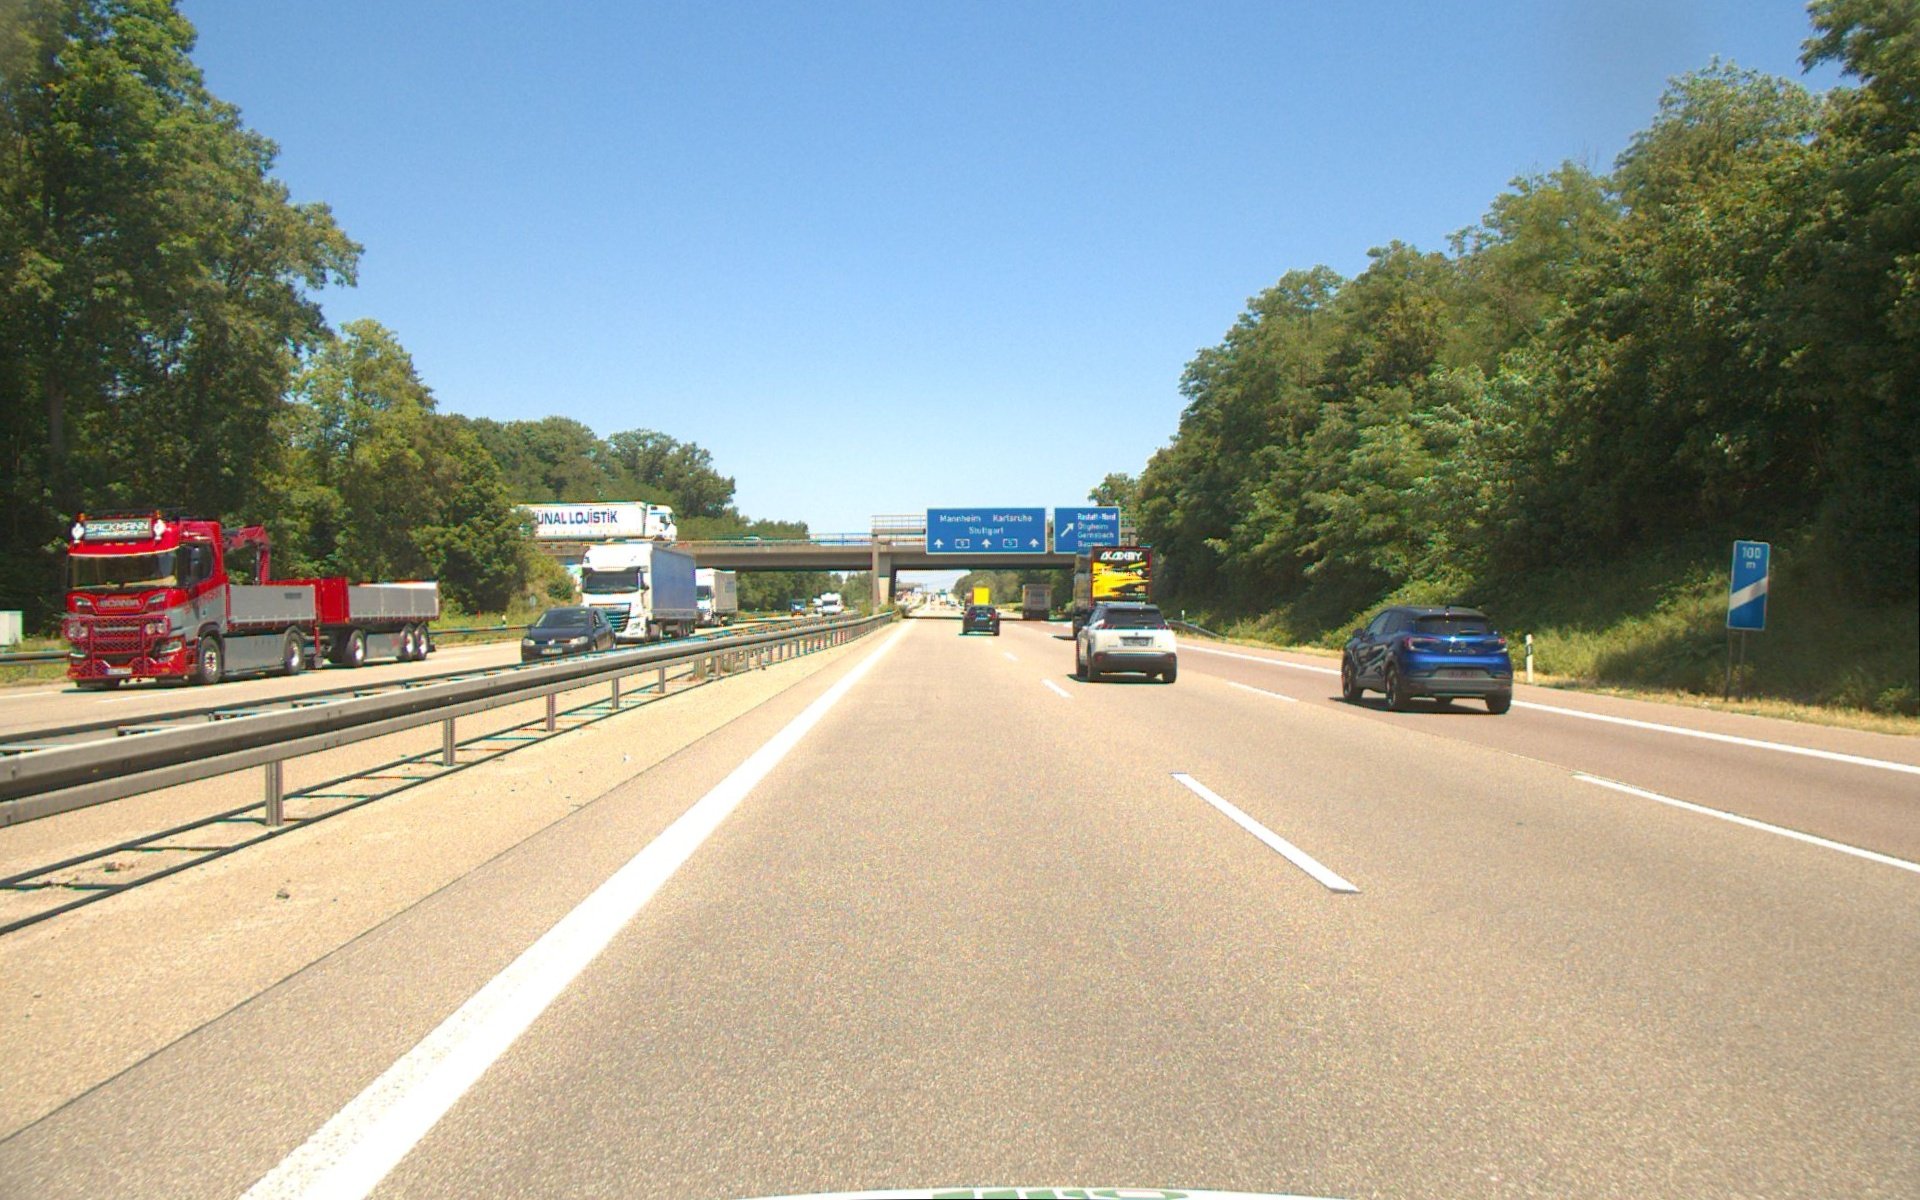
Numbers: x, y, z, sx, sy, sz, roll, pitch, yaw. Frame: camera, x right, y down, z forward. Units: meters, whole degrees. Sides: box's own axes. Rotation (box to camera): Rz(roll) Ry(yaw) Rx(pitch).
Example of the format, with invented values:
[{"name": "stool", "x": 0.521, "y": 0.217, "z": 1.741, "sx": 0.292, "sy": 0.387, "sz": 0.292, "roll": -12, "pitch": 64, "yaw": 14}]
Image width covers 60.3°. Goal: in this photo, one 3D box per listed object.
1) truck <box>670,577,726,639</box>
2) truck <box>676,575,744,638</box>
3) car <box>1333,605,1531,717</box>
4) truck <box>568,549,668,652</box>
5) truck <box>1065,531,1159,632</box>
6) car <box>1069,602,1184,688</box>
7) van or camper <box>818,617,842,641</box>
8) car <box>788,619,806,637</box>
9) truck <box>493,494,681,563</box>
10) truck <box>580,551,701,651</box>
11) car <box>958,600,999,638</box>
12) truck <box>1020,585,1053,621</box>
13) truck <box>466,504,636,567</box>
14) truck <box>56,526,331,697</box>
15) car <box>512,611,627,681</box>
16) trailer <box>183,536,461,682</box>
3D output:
[{"name": "truck", "x": -18.587, "y": 0.587, "z": 117.765, "sx": 2.909, "sy": 4.133, "sz": 6.457, "roll": -2, "pitch": -1, "yaw": -1}, {"name": "truck", "x": -18.745, "y": 0.530, "z": 124.843, "sx": 3.004, "sy": 4.325, "sz": 13.958, "roll": -2, "pitch": -1, "yaw": -1}, {"name": "car", "x": 7.288, "y": 0.901, "z": 25.980, "sx": 1.832, "sy": 1.583, "sz": 4.200, "roll": 1, "pitch": -1, "yaw": -1}, {"name": "truck", "x": -14.268, "y": 0.058, "z": 69.408, "sx": 2.926, "sy": 4.089, "sz": 6.040, "roll": 1, "pitch": -1, "yaw": -1}, {"name": "truck", "x": 6.681, "y": -0.710, "z": 74.334, "sx": 2.915, "sy": 4.107, "sz": 10.978, "roll": 2, "pitch": -1, "yaw": -1}, {"name": "car", "x": 3.366, "y": 0.894, "z": 34.217, "sx": 1.790, "sy": 1.636, "sz": 4.807, "roll": 1, "pitch": -1, "yaw": -1}, {"name": "van or camper", "x": -16.553, "y": 3.710, "z": 211.381, "sx": 2.540, "sy": 2.957, "sz": 7.232, "roll": 1, "pitch": -1, "yaw": -1}, {"name": "car", "x": -22.116, "y": 3.762, "z": 224.534, "sx": 2.047, "sy": 2.441, "sz": 5.731, "roll": 1, "pitch": -1, "yaw": -2}, {"name": "truck", "x": -33.602, "y": -6.406, "z": 149.700, "sx": 16.143, "sy": 5.663, "sz": 3.171, "roll": 1, "pitch": -1, "yaw": -6}, {"name": "truck", "x": -14.361, "y": 0.126, "z": 75.684, "sx": 2.926, "sy": 4.089, "sz": 13.933, "roll": 1, "pitch": -1, "yaw": -1}, {"name": "car", "x": 0.869, "y": 0.914, "z": 79.356, "sx": 1.790, "sy": 1.736, "sz": 3.999, "roll": 1, "pitch": -1, "yaw": -1}, {"name": "truck", "x": 7.468, "y": 0.354, "z": 160.209, "sx": 2.965, "sy": 3.378, "sz": 10.774, "roll": 1, "pitch": -1, "yaw": 3}, {"name": "truck", "x": -40.933, "y": -6.392, "z": 165.931, "sx": 16.154, "sy": 5.663, "sz": 3.169, "roll": 1, "pitch": -1, "yaw": -9}, {"name": "truck", "x": -17.223, "y": 0.271, "z": 37.863, "sx": 2.693, "sy": 3.453, "sz": 7.660, "roll": 1, "pitch": -1, "yaw": -1}, {"name": "car", "x": -9.696, "y": 1.116, "z": 41.425, "sx": 1.770, "sy": 1.619, "sz": 4.668, "roll": 1, "pitch": -1, "yaw": -1}, {"name": "trailer", "x": -17.370, "y": 0.288, "z": 46.474, "sx": 2.723, "sy": 3.453, "sz": 13.287, "roll": 1, "pitch": -1, "yaw": -1}]
